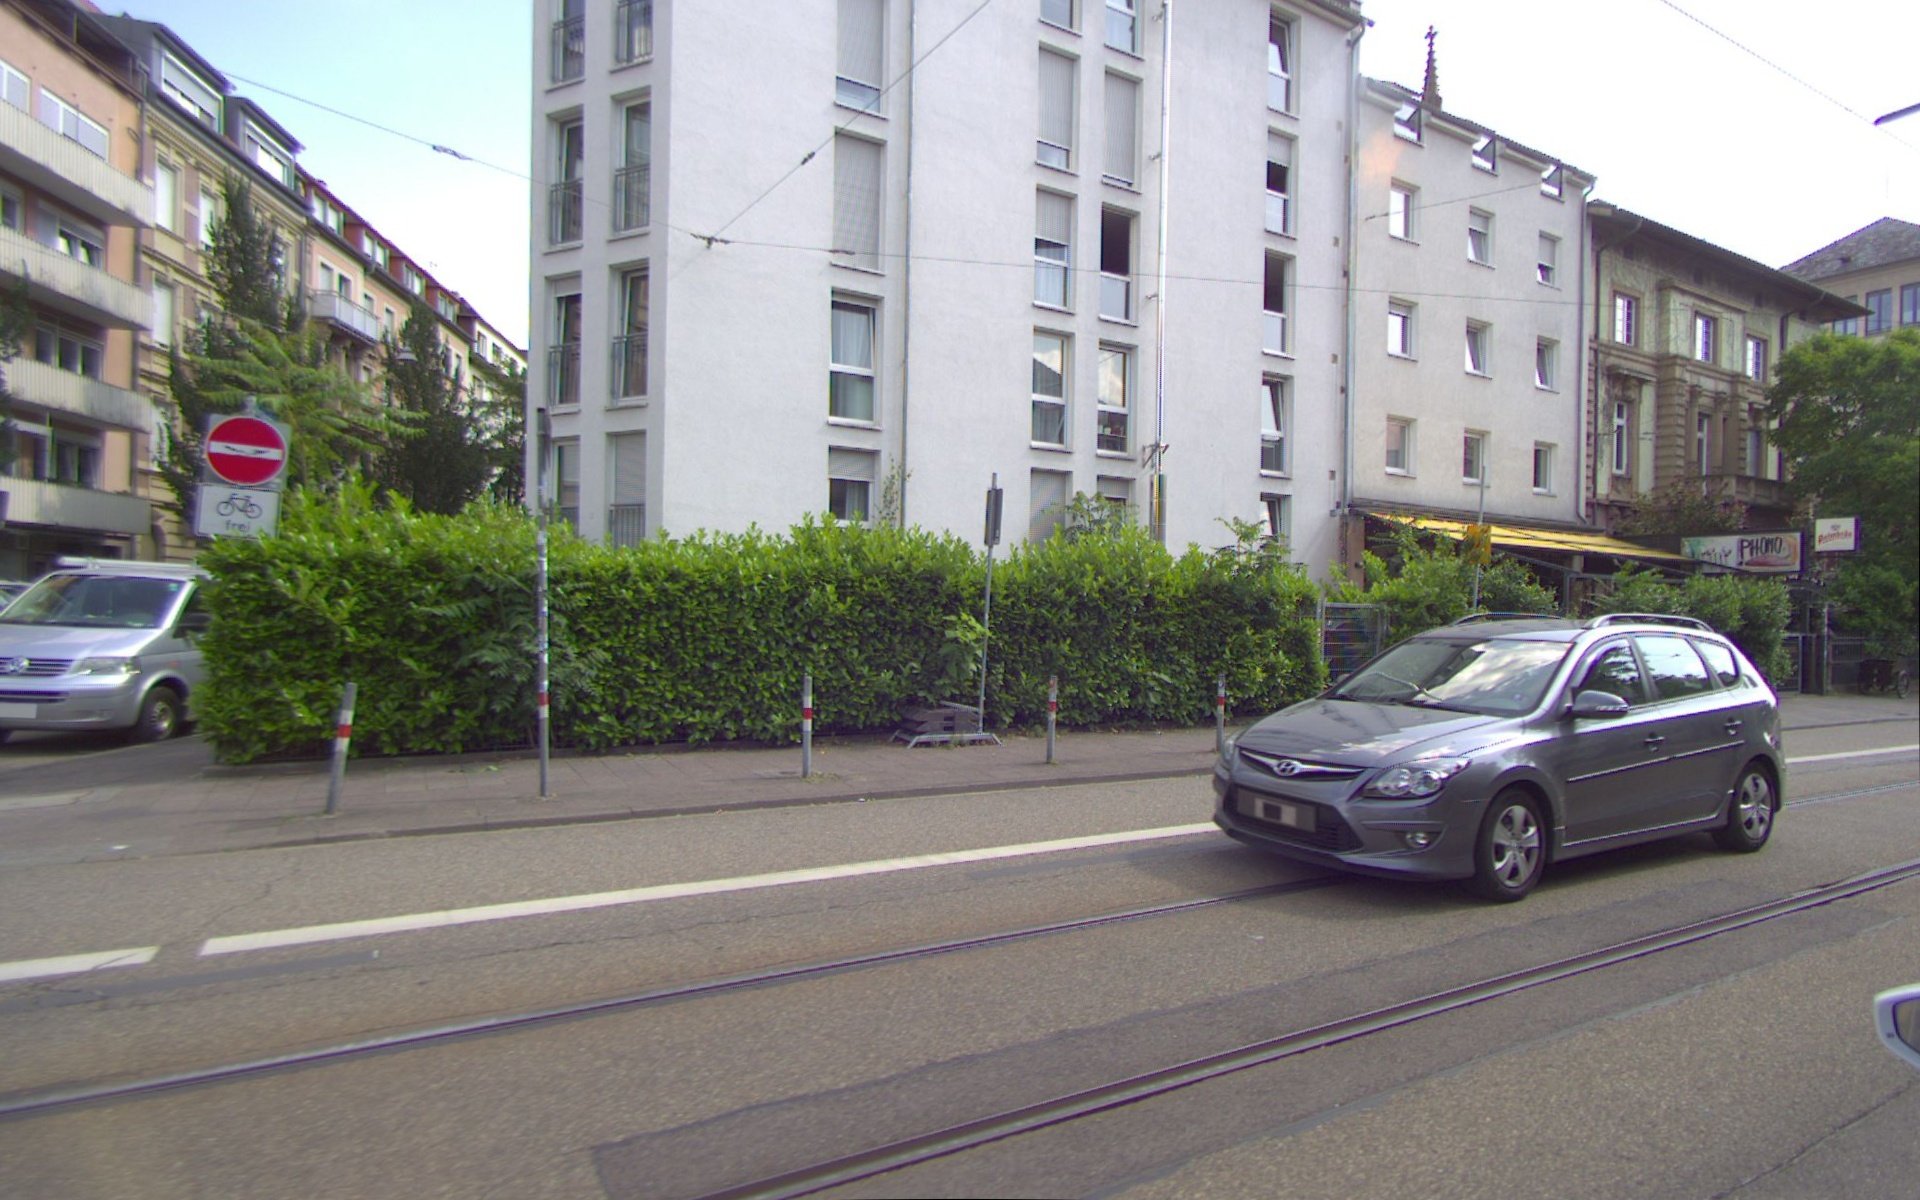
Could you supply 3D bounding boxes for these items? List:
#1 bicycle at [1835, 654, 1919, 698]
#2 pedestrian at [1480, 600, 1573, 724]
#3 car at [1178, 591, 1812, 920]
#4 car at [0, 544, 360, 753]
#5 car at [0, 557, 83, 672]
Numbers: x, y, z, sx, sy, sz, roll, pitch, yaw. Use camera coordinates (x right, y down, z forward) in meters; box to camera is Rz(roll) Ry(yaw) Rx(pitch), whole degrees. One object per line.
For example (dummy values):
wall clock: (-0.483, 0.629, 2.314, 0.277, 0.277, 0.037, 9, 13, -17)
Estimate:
bicycle: (22.950, 1.850, 24.776, 2.953, 0.921, 1.137, 2, 2, -30)
pedestrian: (9.190, 0.987, 16.334, 1.041, 1.943, 0.830, 1, -1, 7)
car: (3.612, 0.812, 6.596, 4.226, 1.560, 1.719, 2, -2, -30)
car: (-9.606, 0.520, 12.292, 2.012, 2.040, 4.941, 1, -1, -7)
car: (-18.527, 0.217, 18.243, 3.519, 2.022, 1.703, 1, 0, -7)
